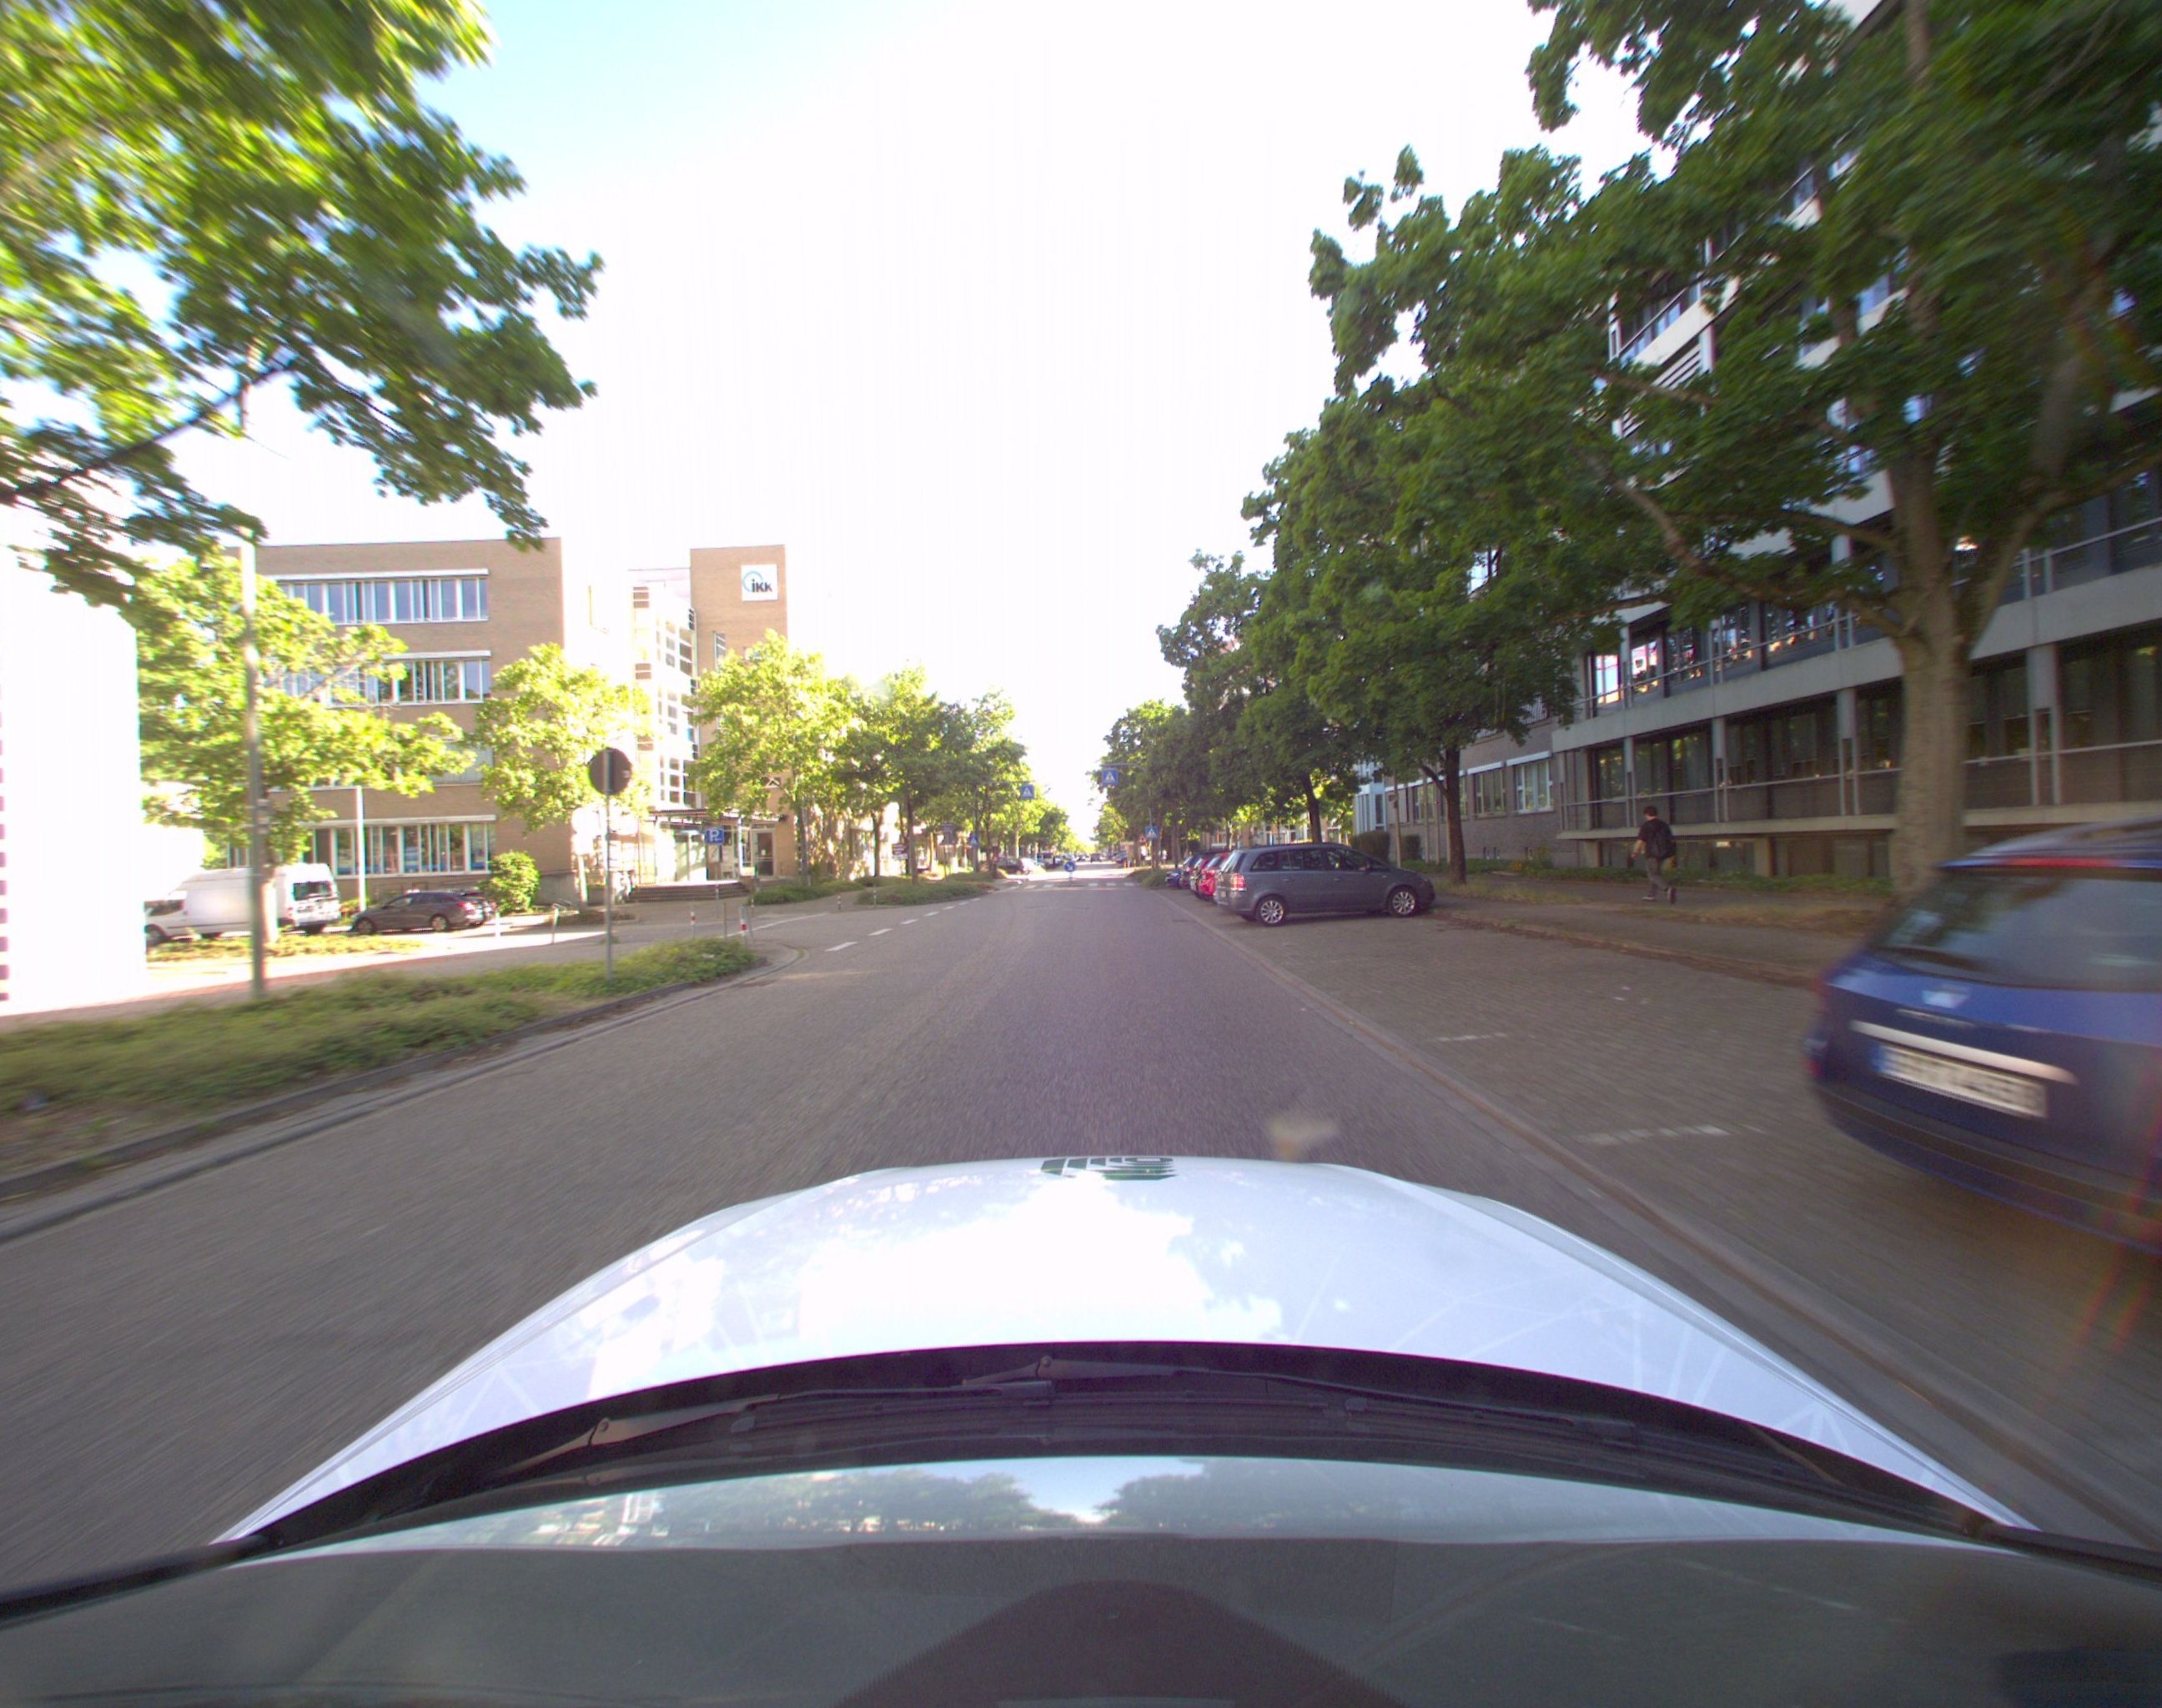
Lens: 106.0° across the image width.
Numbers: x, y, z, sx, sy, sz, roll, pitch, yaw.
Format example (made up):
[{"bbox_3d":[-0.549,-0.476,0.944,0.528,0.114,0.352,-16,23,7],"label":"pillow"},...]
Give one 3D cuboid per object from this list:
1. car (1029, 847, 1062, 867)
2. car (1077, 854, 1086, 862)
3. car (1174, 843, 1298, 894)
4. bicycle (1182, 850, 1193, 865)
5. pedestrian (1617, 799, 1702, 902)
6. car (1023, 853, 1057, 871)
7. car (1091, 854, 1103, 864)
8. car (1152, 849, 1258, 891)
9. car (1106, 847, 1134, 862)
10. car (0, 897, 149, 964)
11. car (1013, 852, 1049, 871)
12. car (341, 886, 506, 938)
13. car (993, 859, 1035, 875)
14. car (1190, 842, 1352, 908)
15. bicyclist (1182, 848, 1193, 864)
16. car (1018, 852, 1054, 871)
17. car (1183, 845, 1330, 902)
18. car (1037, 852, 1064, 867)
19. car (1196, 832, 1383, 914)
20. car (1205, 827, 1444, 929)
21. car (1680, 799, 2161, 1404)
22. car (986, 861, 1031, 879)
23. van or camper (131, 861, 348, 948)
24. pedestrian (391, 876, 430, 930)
[{"bbox_3d":[-4.666,0.432,107.098,3.967,2.541,1.865,-1,0,5],"label":"car"},{"bbox_3d":[0.105,0.849,173.859,1.807,1.525,4.002,-3,0,2],"label":"car"},{"bbox_3d":[5.730,0.535,30.469,4.180,1.536,1.811,-4,0,-2],"label":"car"},{"bbox_3d":[8.529,0.274,65.257,0.679,1.214,1.983,-3,0,12],"label":"bicycle"},{"bbox_3d":[10.380,-0.055,14.657,0.605,1.745,1.191,-3,0,1],"label":"pedestrian"},{"bbox_3d":[-5.106,1.034,101.825,3.968,2.013,2.003,-3,0,5],"label":"car"},{"bbox_3d":[2.884,0.874,146.111,1.986,1.640,4.000,-1,0,1],"label":"car"},{"bbox_3d":[5.295,0.683,35.133,4.180,1.473,1.811,-4,0,-2],"label":"car"},{"bbox_3d":[5.794,0.063,121.263,3.975,2.013,1.999,-3,0,-1],"label":"car"},{"bbox_3d":[-26.312,1.949,20.159,4.177,1.477,2.000,-4,-3,1],"label":"car"},{"bbox_3d":[-5.904,0.879,96.360,3.968,2.013,2.003,-3,0,5],"label":"car"},{"bbox_3d":[-23.455,2.049,29.183,4.177,1.477,2.001,-3,1,1],"label":"car"},{"bbox_3d":[-6.248,1.212,76.295,3.842,1.473,1.809,-1,0,-5],"label":"car"},{"bbox_3d":[5.412,0.578,23.528,4.180,1.536,1.811,-4,0,-2],"label":"car"},{"bbox_3d":[8.523,0.174,65.246,0.693,1.214,0.948,-3,0,12],"label":"bicyclist"},{"bbox_3d":[-5.429,0.885,99.121,3.968,2.013,2.003,-3,0,5],"label":"car"},{"bbox_3d":[5.497,0.604,25.869,4.180,1.448,1.811,-4,0,-2],"label":"car"},{"bbox_3d":[-4.687,0.836,126.311,3.975,2.013,1.999,-3,0,-1],"label":"car"},{"bbox_3d":[5.180,0.461,20.592,4.180,1.668,1.811,-4,0,-2],"label":"car"},{"bbox_3d":[4.959,0.471,16.967,4.340,1.704,1.811,-4,0,-2],"label":"car"},{"bbox_3d":[4.721,0.518,2.771,3.934,1.514,1.813,-4,0,2],"label":"car"},{"bbox_3d":[-6.363,1.411,71.604,3.841,1.473,1.810,-1,0,-4],"label":"car"},{"bbox_3d":[-30.185,1.766,29.366,5.351,2.674,2.181,-3,1,0],"label":"van or camper"},{"bbox_3d":[-25.724,1.865,31.244,0.782,2.013,0.811,-3,0,-7],"label":"pedestrian"}]
